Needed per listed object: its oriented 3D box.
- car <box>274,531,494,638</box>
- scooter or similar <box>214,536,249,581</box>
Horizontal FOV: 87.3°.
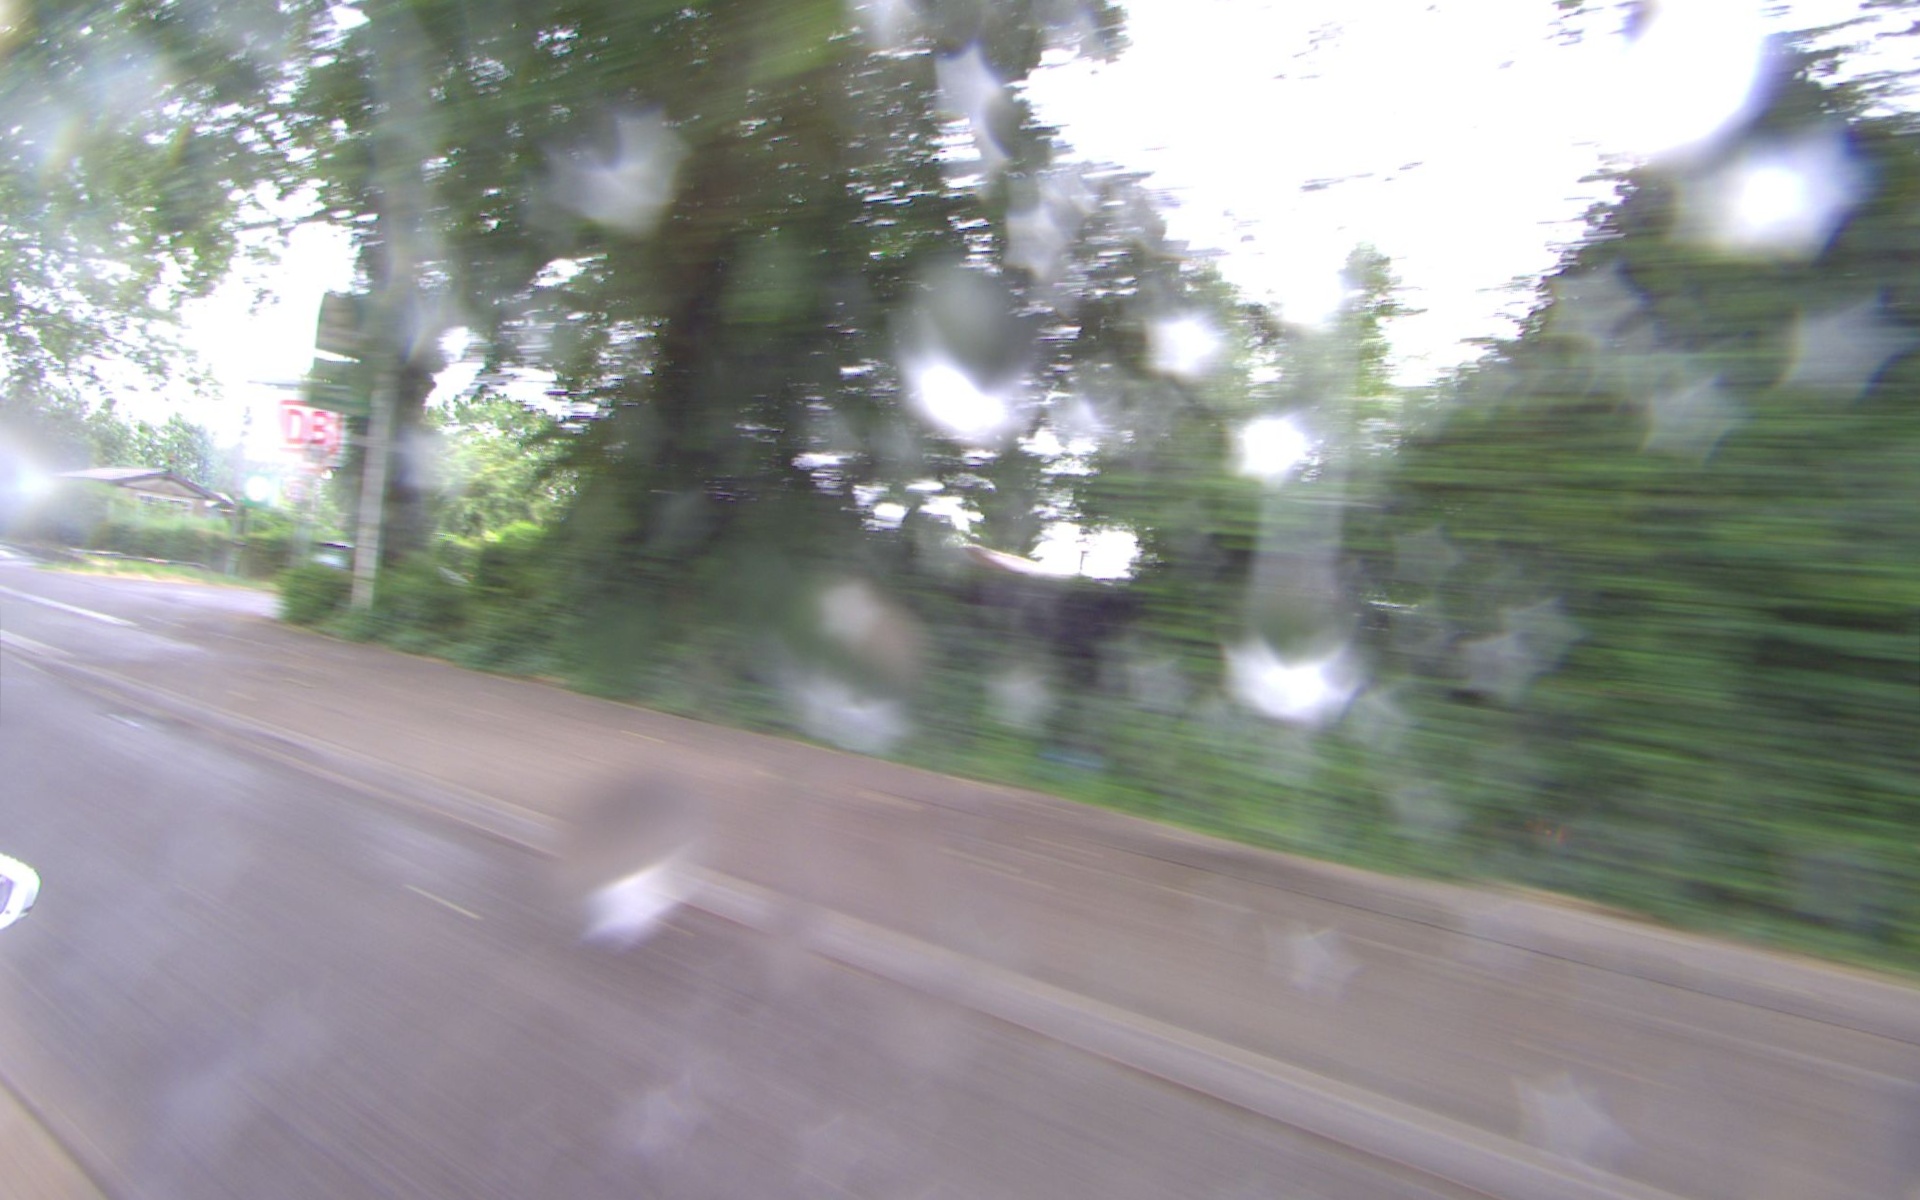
[{"bbox_3d":[-11.472,-0.246,20.271,1.628,1.627,3.393,8,-1,23],"label":"car"},{"bbox_3d":[-19.996,-1.142,27.607,0.458,1.129,1.259,10,-3,-44],"label":"scooter or similar"}]
